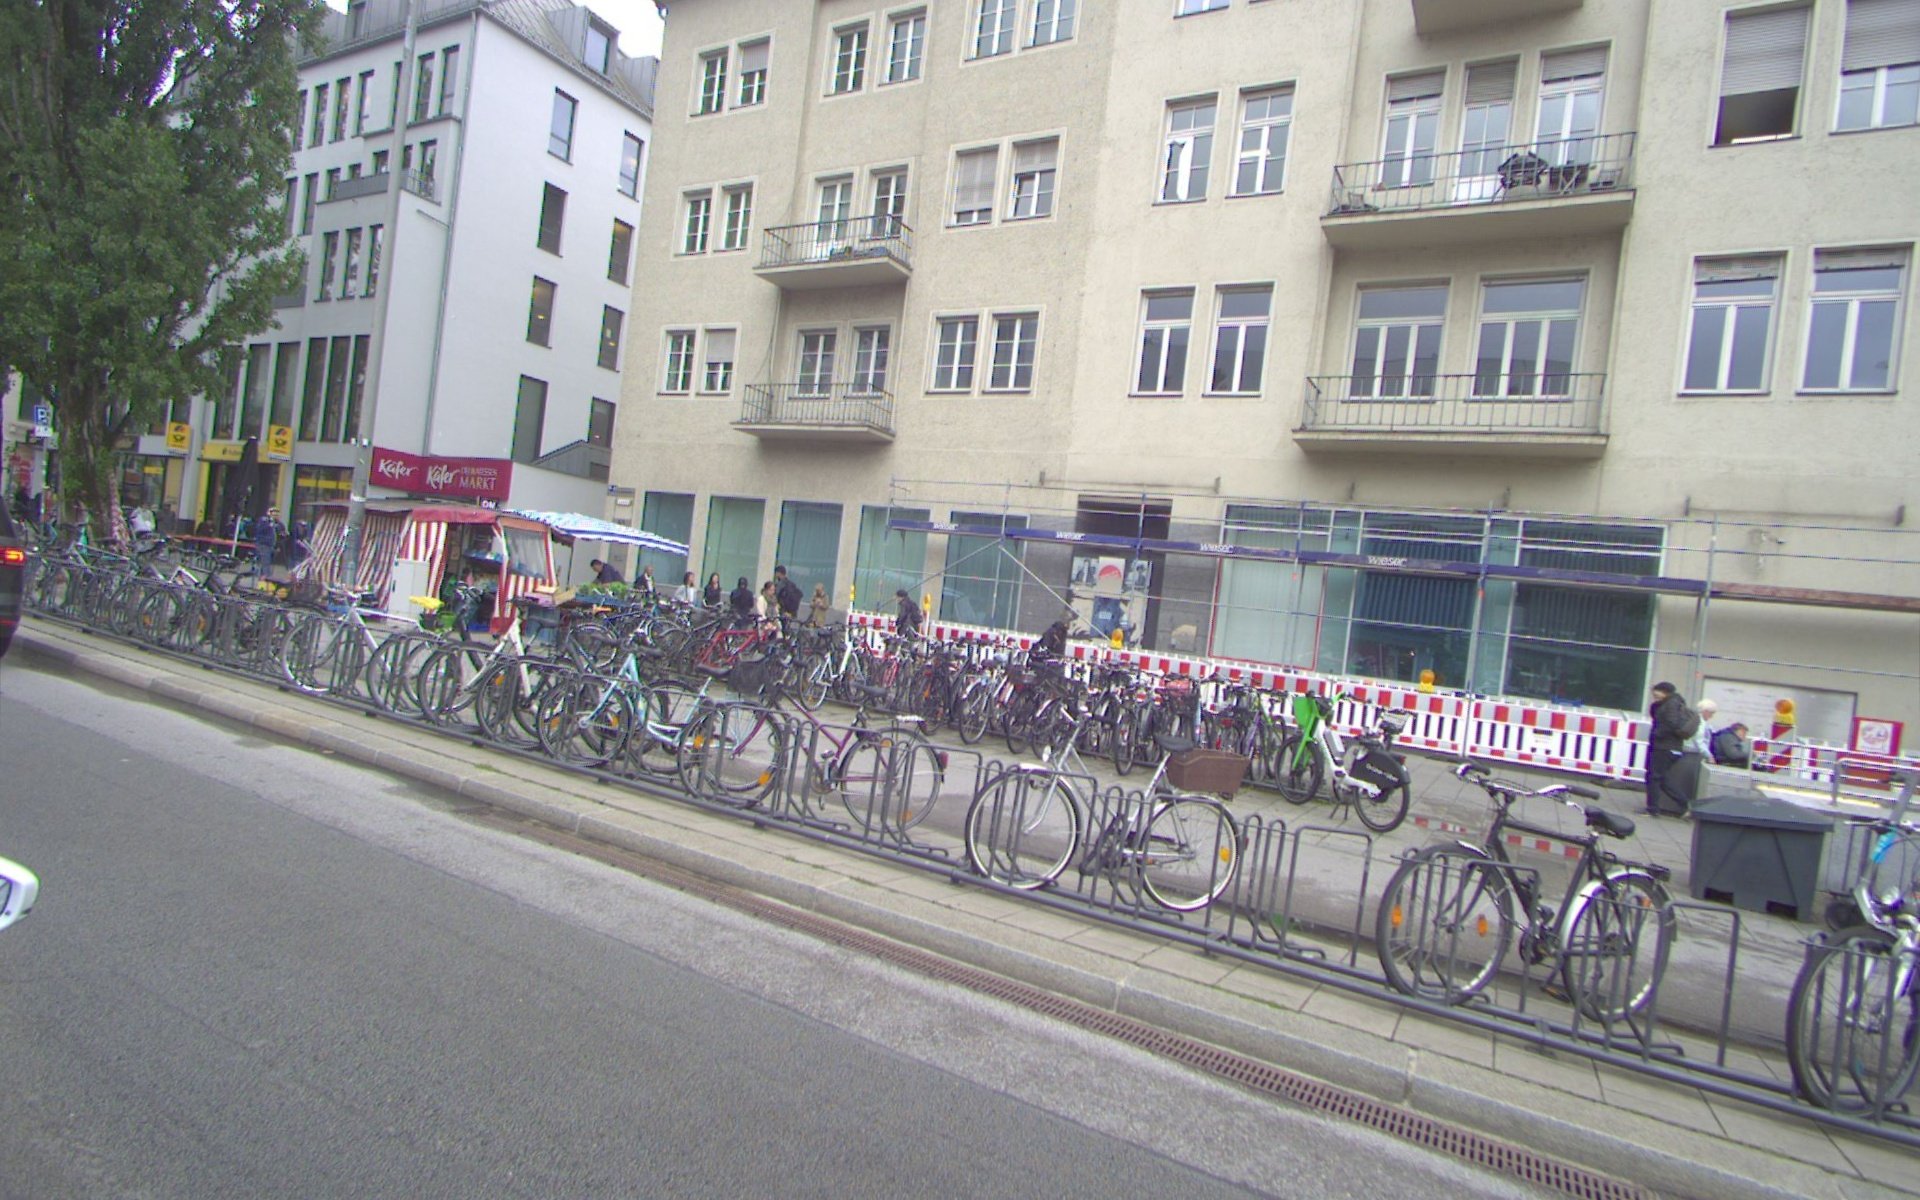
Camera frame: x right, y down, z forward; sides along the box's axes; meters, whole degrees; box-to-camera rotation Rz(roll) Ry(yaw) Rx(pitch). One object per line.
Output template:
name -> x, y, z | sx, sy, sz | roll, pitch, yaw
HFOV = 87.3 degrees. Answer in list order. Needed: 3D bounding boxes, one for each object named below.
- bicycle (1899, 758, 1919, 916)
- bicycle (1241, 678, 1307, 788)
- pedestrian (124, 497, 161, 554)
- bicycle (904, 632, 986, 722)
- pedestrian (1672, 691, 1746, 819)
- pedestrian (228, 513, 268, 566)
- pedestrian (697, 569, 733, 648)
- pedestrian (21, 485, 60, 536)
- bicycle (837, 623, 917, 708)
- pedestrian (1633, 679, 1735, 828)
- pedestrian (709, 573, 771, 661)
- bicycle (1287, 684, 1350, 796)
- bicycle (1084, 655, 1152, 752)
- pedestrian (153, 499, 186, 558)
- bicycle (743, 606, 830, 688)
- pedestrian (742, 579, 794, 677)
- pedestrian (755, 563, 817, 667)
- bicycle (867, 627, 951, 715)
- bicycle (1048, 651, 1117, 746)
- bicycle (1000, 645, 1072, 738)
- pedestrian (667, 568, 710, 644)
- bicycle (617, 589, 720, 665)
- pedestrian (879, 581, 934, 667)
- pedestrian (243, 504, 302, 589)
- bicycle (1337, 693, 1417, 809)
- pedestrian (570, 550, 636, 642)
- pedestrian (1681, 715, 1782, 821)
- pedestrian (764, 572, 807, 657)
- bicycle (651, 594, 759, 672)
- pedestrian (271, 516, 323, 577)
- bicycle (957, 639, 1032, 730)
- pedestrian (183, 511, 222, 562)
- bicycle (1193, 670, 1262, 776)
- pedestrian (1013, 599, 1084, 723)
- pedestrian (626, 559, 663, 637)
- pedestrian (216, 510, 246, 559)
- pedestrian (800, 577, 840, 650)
bicycle -> 7.742, 1.907, 7.446 | 0.618, 1.242, 2.364 | 7, 0, 33
bicycle -> 3.591, 1.474, 11.453 | 0.403, 1.091, 1.451 | 7, 1, 26
pedestrian -> -24.705, -2.254, 30.411 | 0.625, 1.603, 0.641 | 7, 2, 39
bicycle -> -0.177, 1.004, 13.373 | 0.403, 1.091, 1.535 | 7, 1, 23
pedestrian -> 9.822, 2.007, 13.205 | 0.580, 1.560, 0.565 | 6, 0, 29
pedestrian -> -23.290, -1.992, 32.925 | 0.760, 1.605, 0.691 | 7, 1, 31
pedestrian -> -5.456, 0.196, 22.384 | 0.464, 1.692, 0.527 | 7, -1, 0
pedestrian -> -33.211, -3.220, 36.331 | 0.711, 1.746, 0.736 | 6, 1, -22
bicycle -> -1.138, 0.904, 14.067 | 0.403, 1.091, 1.452 | 7, 1, 22
pedestrian -> 8.820, 1.846, 12.286 | 0.821, 1.652, 0.563 | 7, 1, 34
pedestrian -> -4.138, 0.324, 18.967 | 0.717, 1.547, 0.677 | 7, 1, 32
bicycle -> 4.021, 1.523, 11.247 | 0.403, 1.091, 1.451 | 7, 1, 26
bicycle -> 1.994, 1.260, 12.574 | 0.403, 1.091, 1.452 | 7, 1, 22
pedestrian -> -24.511, -2.208, 31.193 | 0.588, 1.723, 0.579 | 8, 2, 39
bicycle -> -2.570, 0.698, 15.076 | 0.402, 1.117, 1.633 | 7, 1, 21
pedestrian -> -3.286, 0.475, 17.290 | 0.526, 1.602, 0.662 | 7, 1, 7
pedestrian -> -3.274, 0.290, 19.005 | 0.716, 1.851, 0.718 | 7, 1, 16
bicycle -> -0.668, 0.951, 13.695 | 0.403, 1.091, 1.535 | 7, 1, 23
bicycle -> 1.581, 1.215, 12.826 | 0.403, 1.091, 1.452 | 7, 1, 22
bicycle -> 1.002, 1.146, 13.026 | 0.403, 1.091, 1.452 | 7, 1, 22
pedestrian -> -5.877, 0.137, 21.795 | 0.458, 1.558, 0.560 | 7, -1, 31
bicycle -> -4.614, 0.448, 16.029 | 0.403, 1.117, 1.630 | 7, 1, 32
pedestrian -> -1.101, 0.496, 20.850 | 0.752, 1.671, 0.601 | 7, 1, 30
pedestrian -> -15.710, -1.224, 22.987 | 0.563, 1.816, 0.793 | 6, -1, 37
bicycle -> 4.554, 1.593, 10.936 | 0.403, 1.091, 1.647 | 7, 1, 33
pedestrian -> -7.073, -0.073, 19.931 | 0.717, 1.694, 0.794 | 7, 1, 30
pedestrian -> 10.592, 2.284, 13.849 | 0.903, 1.261, 0.700 | 6, 0, 30
pedestrian -> -3.462, 0.275, 19.893 | 0.546, 1.585, 0.650 | 6, 1, -22
bicycle -> -3.993, 0.546, 15.860 | 0.404, 1.117, 1.627 | 7, 1, 39
pedestrian -> -19.778, -1.580, 30.005 | 1.006, 1.657, 0.800 | 7, 1, 31
bicycle -> 0.479, 1.084, 13.214 | 0.403, 1.091, 1.452 | 7, 1, 22
pedestrian -> -24.088, -2.017, 32.010 | 0.640, 1.493, 0.756 | 7, -1, -21
bicycle -> 3.135, 1.388, 11.702 | 0.403, 1.091, 1.451 | 7, 1, 26
pedestrian -> 1.315, 0.898, 15.030 | 0.693, 1.730, 0.738 | 7, 1, -10
pedestrian -> -7.144, -0.026, 22.814 | 0.496, 1.694, 0.541 | 7, -1, -5
pedestrian -> -26.844, -2.406, 37.045 | 0.685, 1.669, 0.792 | 6, 1, -30
pedestrian -> -3.288, 0.317, 23.586 | 0.598, 1.623, 0.465 | 7, 1, 28
